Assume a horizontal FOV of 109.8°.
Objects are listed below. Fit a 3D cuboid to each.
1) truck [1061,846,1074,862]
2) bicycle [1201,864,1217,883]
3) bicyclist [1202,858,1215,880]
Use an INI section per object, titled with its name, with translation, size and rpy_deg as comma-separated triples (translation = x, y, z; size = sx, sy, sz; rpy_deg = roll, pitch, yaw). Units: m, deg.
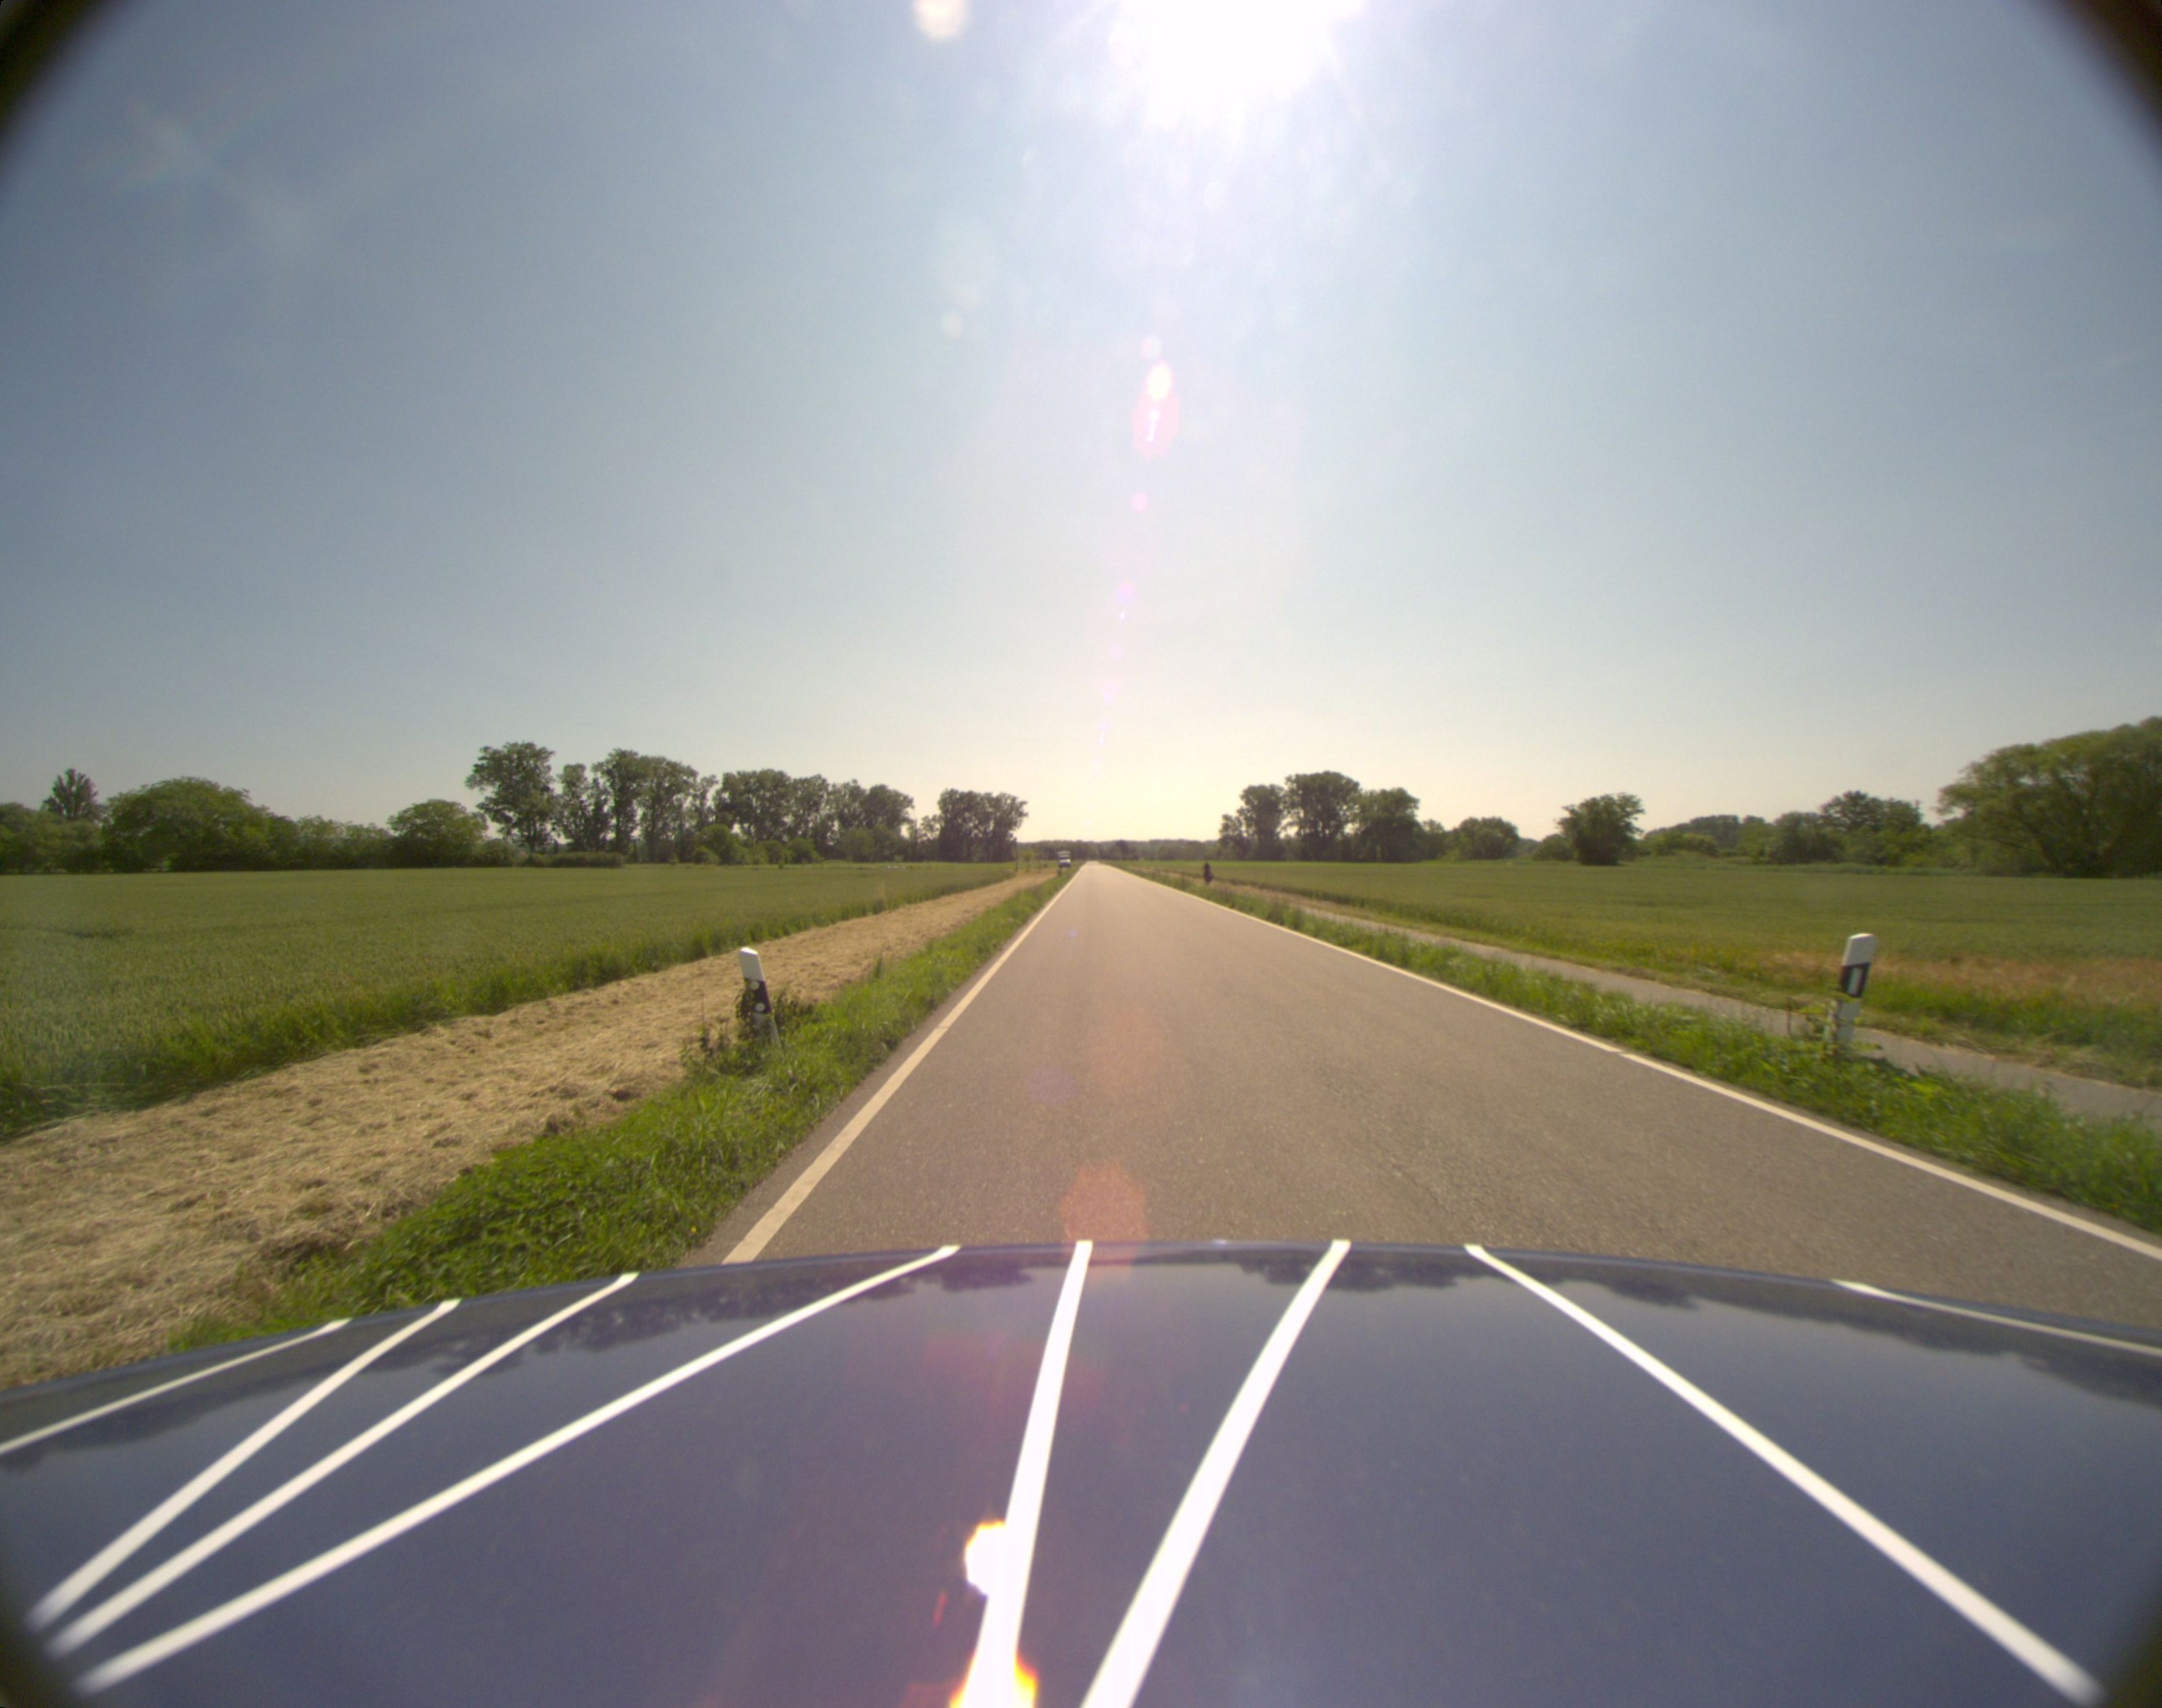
[truck]
translation = -2.295, -0.035, 133.104
size = 1.998, 2.821, 5.218
rpy_deg = 0, 0, 1
[bicycle]
translation = 8.436, 1.294, 50.289
size = 0.743, 1.165, 2.082
rpy_deg = 0, 0, 1
[bicyclist]
translation = 8.426, 0.984, 50.320
size = 0.743, 1.488, 1.003
rpy_deg = 0, 1, 1
